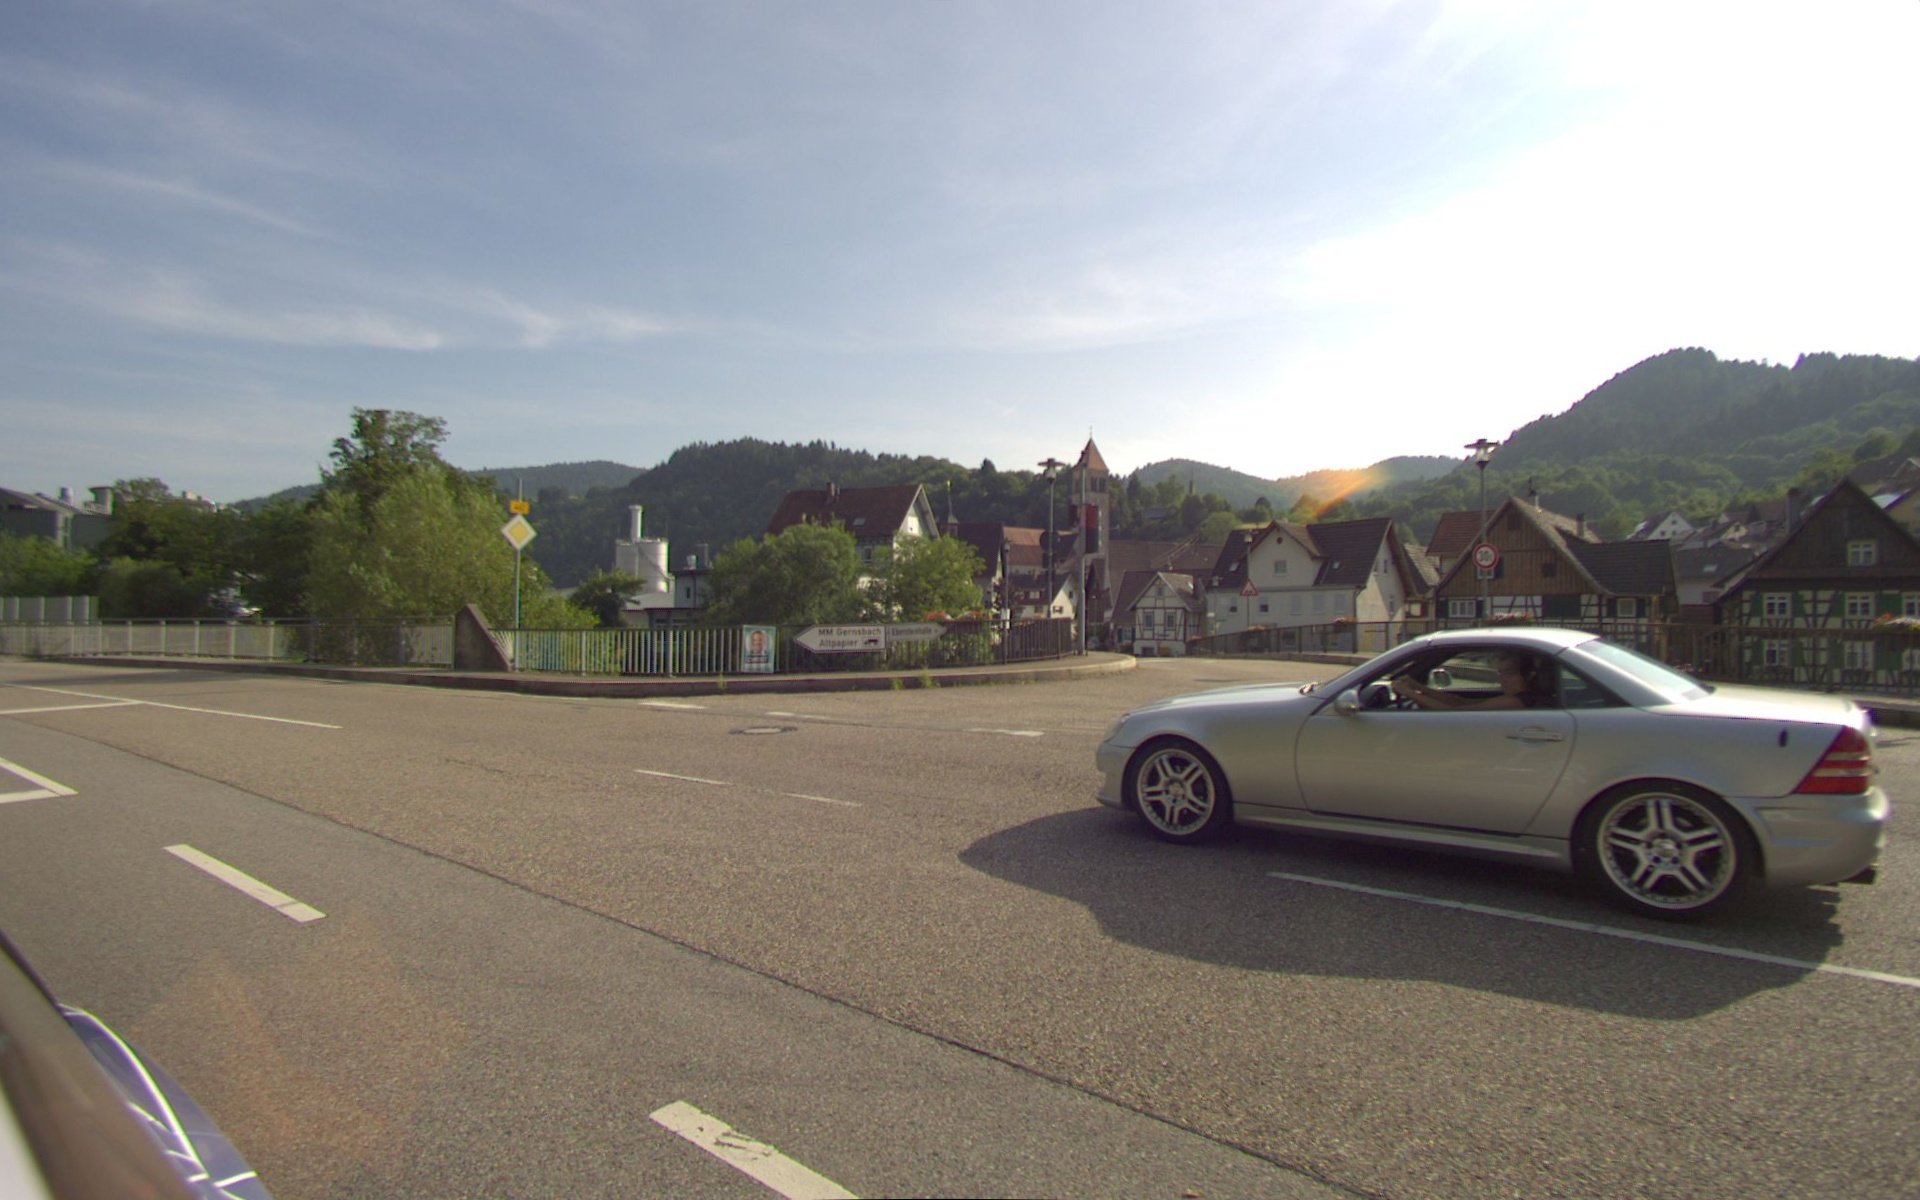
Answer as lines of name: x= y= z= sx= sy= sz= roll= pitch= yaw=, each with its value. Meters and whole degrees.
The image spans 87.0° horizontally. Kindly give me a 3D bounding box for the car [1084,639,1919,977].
car: x=2.849 y=0.854 z=5.566 sx=4.090 sy=1.241 sz=1.628 roll=-2 pitch=-2 yaw=40
